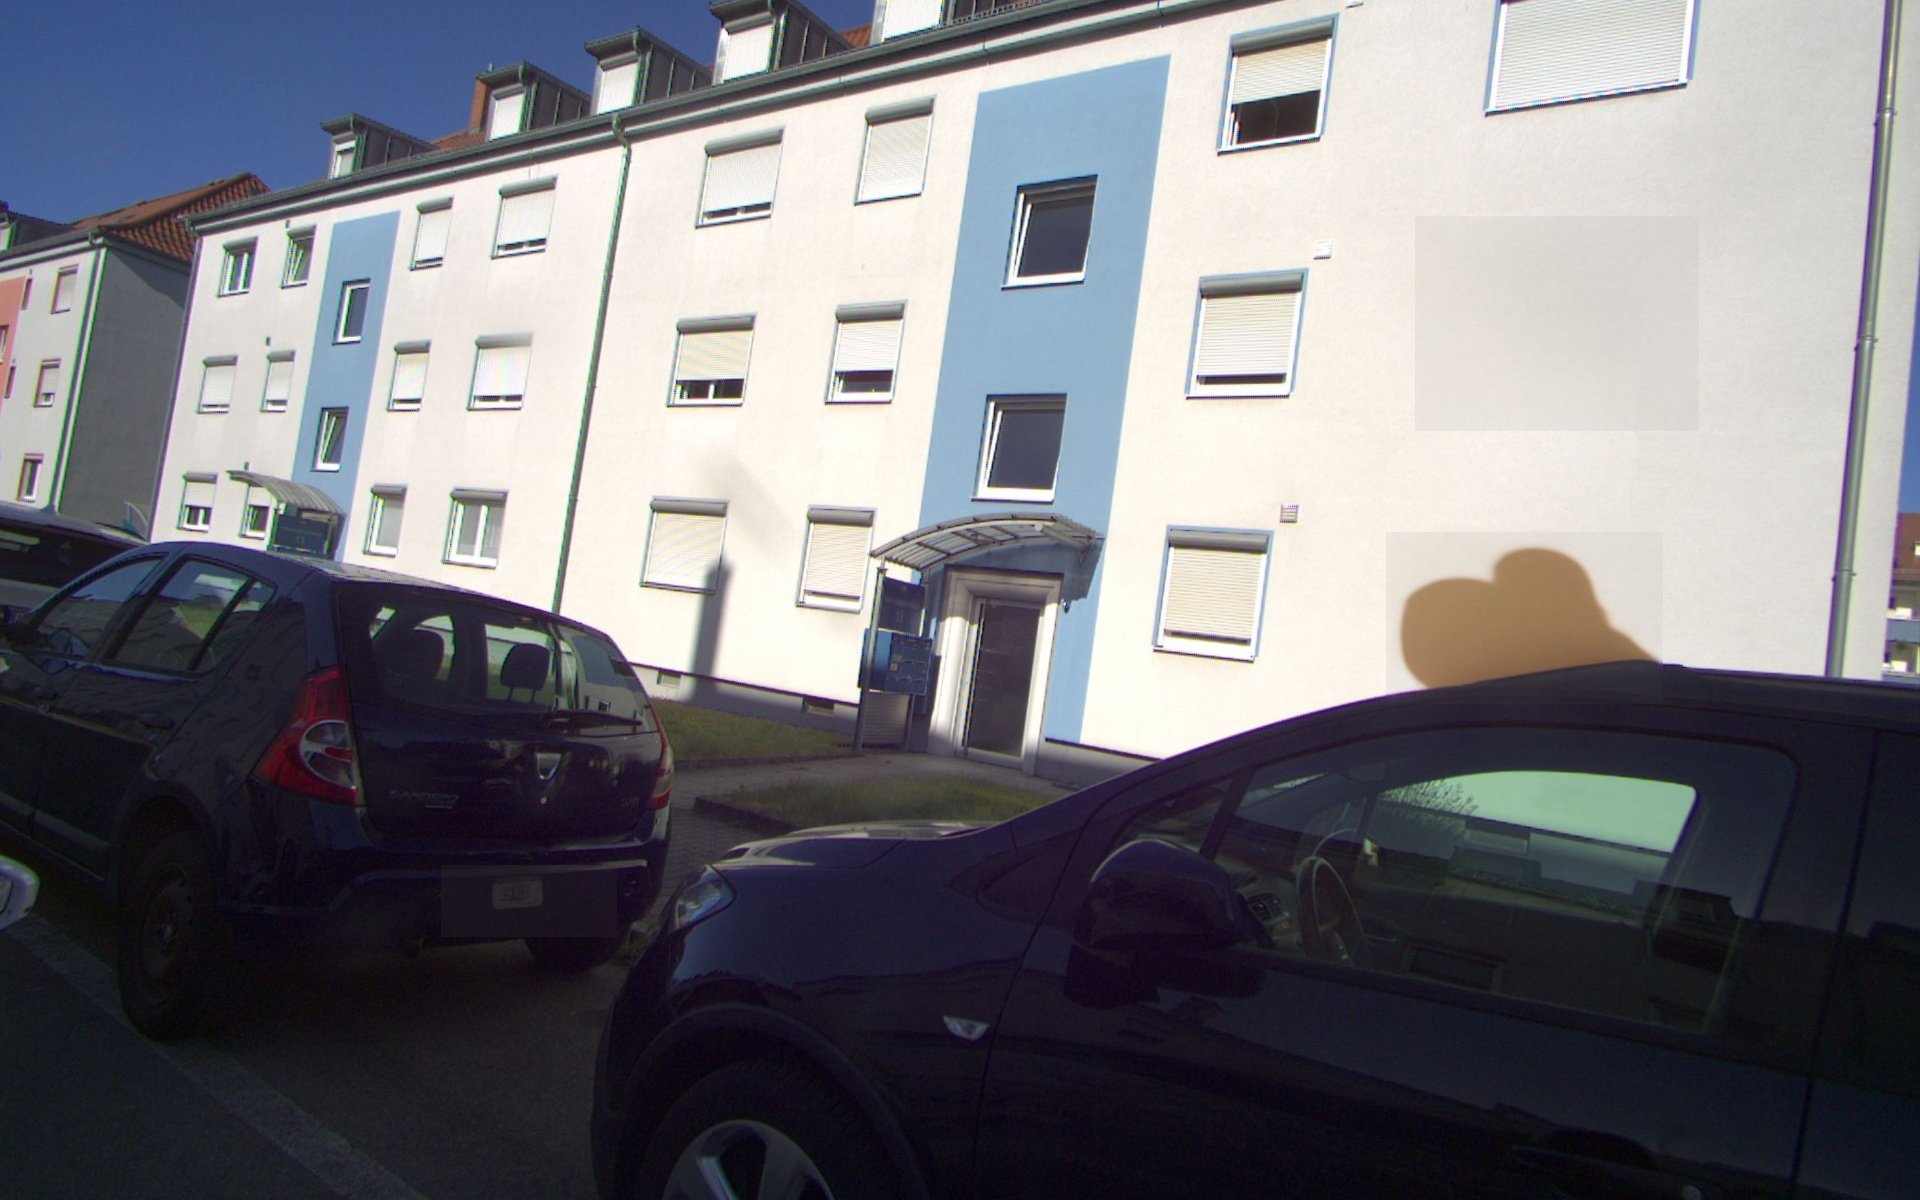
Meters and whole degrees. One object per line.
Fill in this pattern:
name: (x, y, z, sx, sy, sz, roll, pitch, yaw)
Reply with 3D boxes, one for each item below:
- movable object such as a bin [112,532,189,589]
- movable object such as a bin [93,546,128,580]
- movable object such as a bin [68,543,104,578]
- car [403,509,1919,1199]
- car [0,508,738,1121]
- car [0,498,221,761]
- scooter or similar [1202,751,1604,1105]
movable object such as a bin: (-24.602, -1.192, 30.586, 1.168, 1.431, 1.363, 6, -3, 31)
movable object such as a bin: (-25.186, -1.090, 29.809, 0.622, 0.896, 0.524, 7, -3, 32)
movable object such as a bin: (-25.485, -1.148, 29.341, 0.622, 0.896, 0.524, 7, -3, 32)
car: (1.142, 0.954, 1.898, 4.395, 1.665, 1.789, 7, -5, 33)
car: (-3.137, 0.531, 4.476, 4.088, 1.515, 1.645, 7, -3, 33)
car: (-7.638, -0.002, 7.490, 4.360, 1.591, 1.696, 7, -4, 31)
scooter or similar: (2.046, 1.442, 4.758, 1.563, 1.163, 0.484, 7, 1, 32)
